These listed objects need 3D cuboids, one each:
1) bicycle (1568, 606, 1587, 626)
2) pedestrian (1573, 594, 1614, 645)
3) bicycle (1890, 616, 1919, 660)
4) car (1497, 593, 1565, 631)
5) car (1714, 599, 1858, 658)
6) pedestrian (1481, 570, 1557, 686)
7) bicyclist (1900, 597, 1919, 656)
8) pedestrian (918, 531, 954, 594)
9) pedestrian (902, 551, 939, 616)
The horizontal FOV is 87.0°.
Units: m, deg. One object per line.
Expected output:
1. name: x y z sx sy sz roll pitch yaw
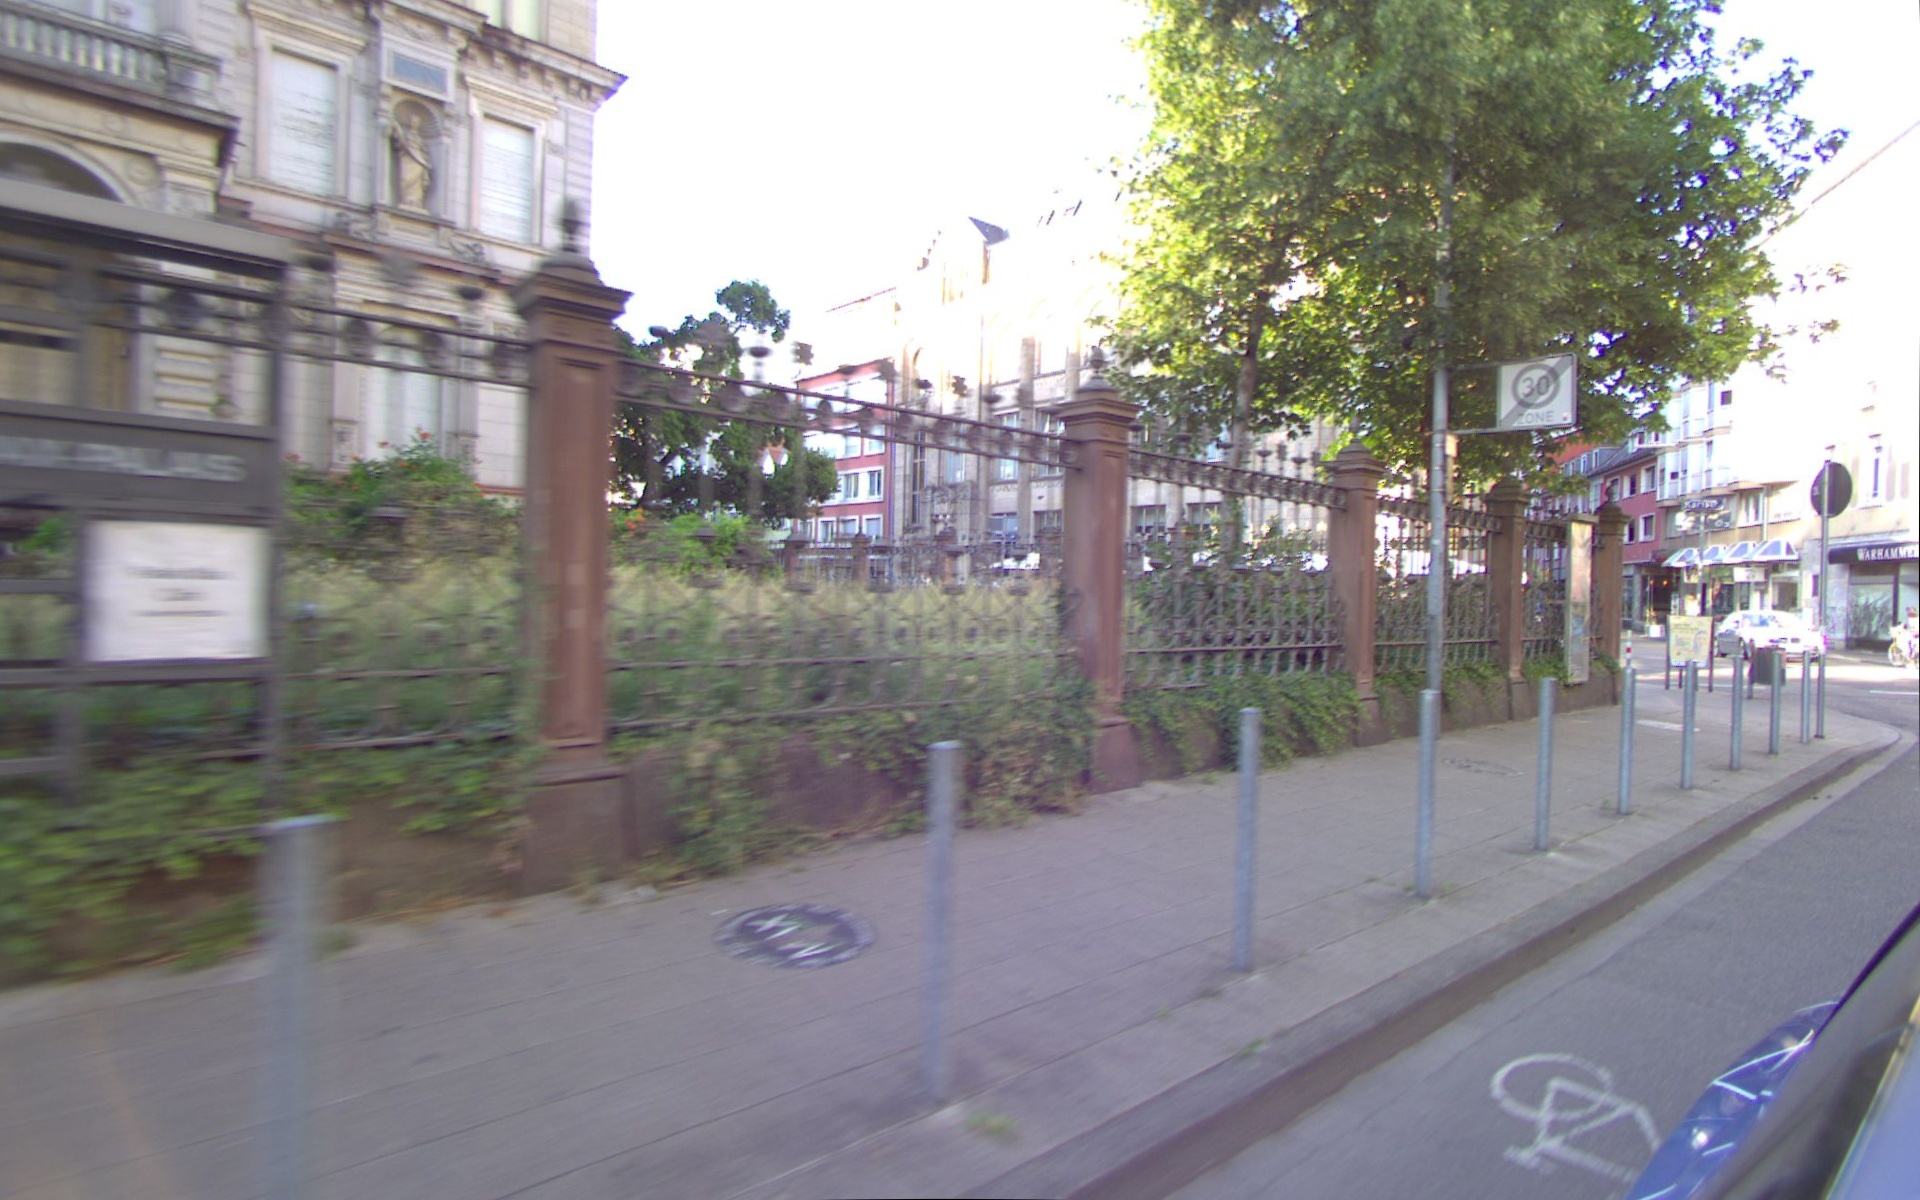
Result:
1. bicycle: 38.056 0.972 62.360 0.538 1.207 1.832 1 0 17
2. pedestrian: 20.748 0.640 33.154 0.788 1.633 0.736 1 1 -11
3. bicycle: 26.320 1.044 27.602 0.657 1.152 1.813 1 1 16
4. car: 29.388 0.588 52.242 1.972 1.805 4.908 2 0 16
5. car: 22.494 0.716 27.771 1.979 1.440 4.420 1 0 25
6. pedestrian: 8.676 0.414 15.729 0.624 1.744 0.846 1 0 -6
7. bicyclist: 26.331 0.727 27.632 0.651 1.590 0.858 1 1 17
8. pedestrian: -0.664 -1.037 28.030 0.701 1.691 0.634 2 -1 36
9. pedestrian: -1.049 -0.445 27.158 0.701 1.691 0.634 2 -1 36
